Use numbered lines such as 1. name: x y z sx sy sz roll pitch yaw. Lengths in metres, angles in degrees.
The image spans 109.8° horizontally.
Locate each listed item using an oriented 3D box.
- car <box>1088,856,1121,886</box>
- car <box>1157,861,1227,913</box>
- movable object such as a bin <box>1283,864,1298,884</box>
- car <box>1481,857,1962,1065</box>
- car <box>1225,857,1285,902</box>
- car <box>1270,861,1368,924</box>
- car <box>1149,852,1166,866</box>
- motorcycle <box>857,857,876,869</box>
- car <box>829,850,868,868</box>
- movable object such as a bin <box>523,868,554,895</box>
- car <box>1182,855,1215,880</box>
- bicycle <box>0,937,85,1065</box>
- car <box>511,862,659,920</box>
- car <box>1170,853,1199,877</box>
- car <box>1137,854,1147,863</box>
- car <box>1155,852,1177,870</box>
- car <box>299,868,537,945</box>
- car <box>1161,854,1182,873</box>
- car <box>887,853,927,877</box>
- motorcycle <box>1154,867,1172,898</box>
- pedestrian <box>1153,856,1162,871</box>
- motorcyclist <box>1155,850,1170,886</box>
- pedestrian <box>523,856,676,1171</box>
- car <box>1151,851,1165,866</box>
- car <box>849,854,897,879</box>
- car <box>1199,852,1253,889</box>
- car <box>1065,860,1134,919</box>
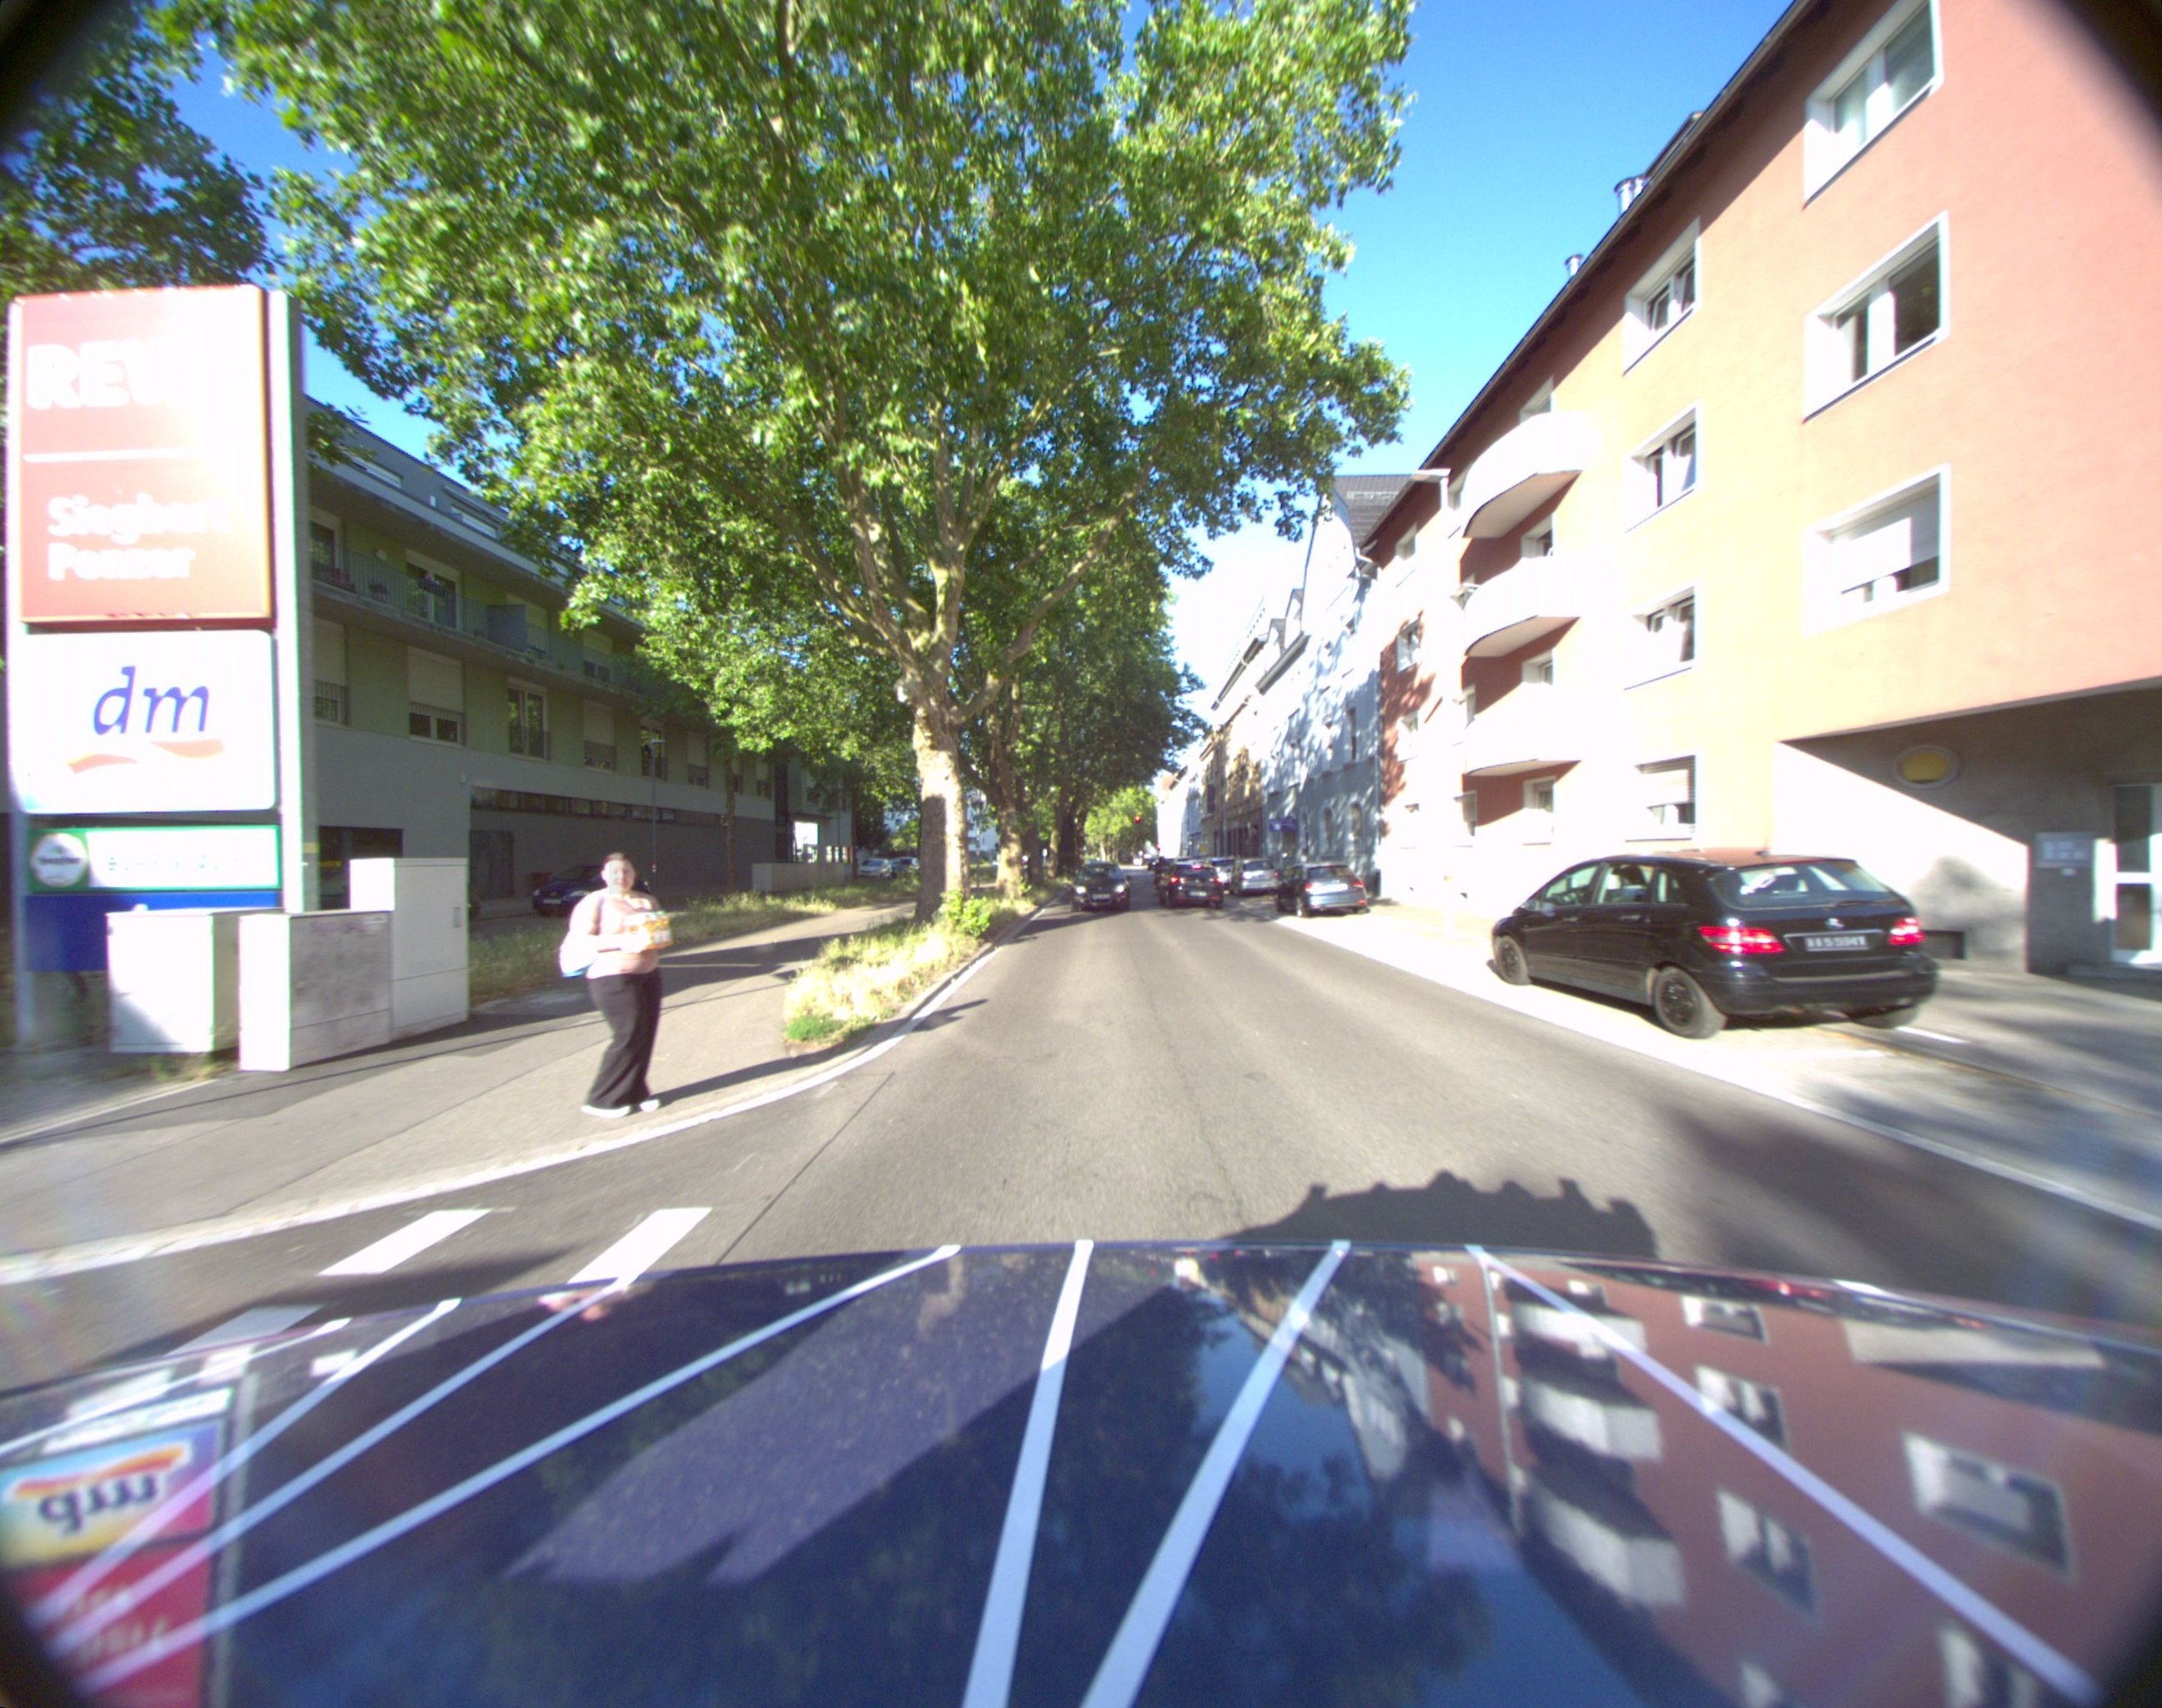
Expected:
1. car: 1.239 0.846 39.729 1.654 1.445 3.535 -1 0 2
2. car: 3.583 1.025 25.165 1.775 1.470 4.322 -2 0 2
3. movable object such as a bin: 10.062 0.955 36.484 0.558 0.941 0.669 0 1 2
4. car: 5.977 0.839 7.855 1.681 1.515 4.021 -2 0 3
5. car: 7.112 0.997 31.360 1.682 1.632 3.985 -2 0 3
6. car: 6.442 0.977 20.928 1.681 1.477 3.601 -2 0 3
7. car: 9.371 0.600 92.872 1.910 1.663 4.494 -2 0 6
8. motorcycle: -22.901 0.958 81.132 0.950 1.241 2.319 0 0 14
9. car: -21.180 0.480 69.336 1.672 1.445 3.565 -1 -3 18
10. movable object such as a bin: -19.338 0.990 27.106 0.630 0.937 0.663 0 0 2
11. car: 7.414 0.831 48.232 1.681 1.487 3.872 -2 0 3
12. bicycle: -9.204 1.264 6.249 0.384 0.998 1.484 -1 0 -15
13. car: -14.734 1.046 22.847 1.863 1.543 3.760 0 0 2
14. car: 7.326 0.732 54.191 1.681 1.575 4.200 -2 0 3
15. car: 11.932 0.925 147.914 1.897 1.782 4.001 0 0 4
16. car: 8.294 0.676 74.154 1.785 1.663 4.156 -2 0 3
17. car: -14.951 1.102 17.512 1.864 1.460 4.123 0 0 0
18. car: 8.159 0.860 68.595 1.681 1.595 3.706 -2 0 5
19. car: -13.409 0.835 58.808 1.909 1.760 4.320 0 0 2
20. motorcycle: 3.586 1.217 33.423 0.548 1.234 2.264 1 1 1
21. pedestrian: 8.041 1.032 79.797 0.865 1.561 0.706 0 1 6
22. motorcyclist: 3.586 0.613 33.499 0.587 1.596 0.831 0 1 1
23. pedestrian: -2.945 0.897 4.721 0.664 1.751 0.768 1 1 -23
24. car: 9.967 0.581 98.630 1.668 1.808 4.006 -2 0 4
25. car: -13.864 0.797 50.925 1.863 1.534 4.320 0 0 2
26. car: 7.006 0.757 37.179 1.912 1.632 4.578 -2 0 3
27. car: 0.621 1.005 23.301 1.844 1.536 4.524 -2 0 3
